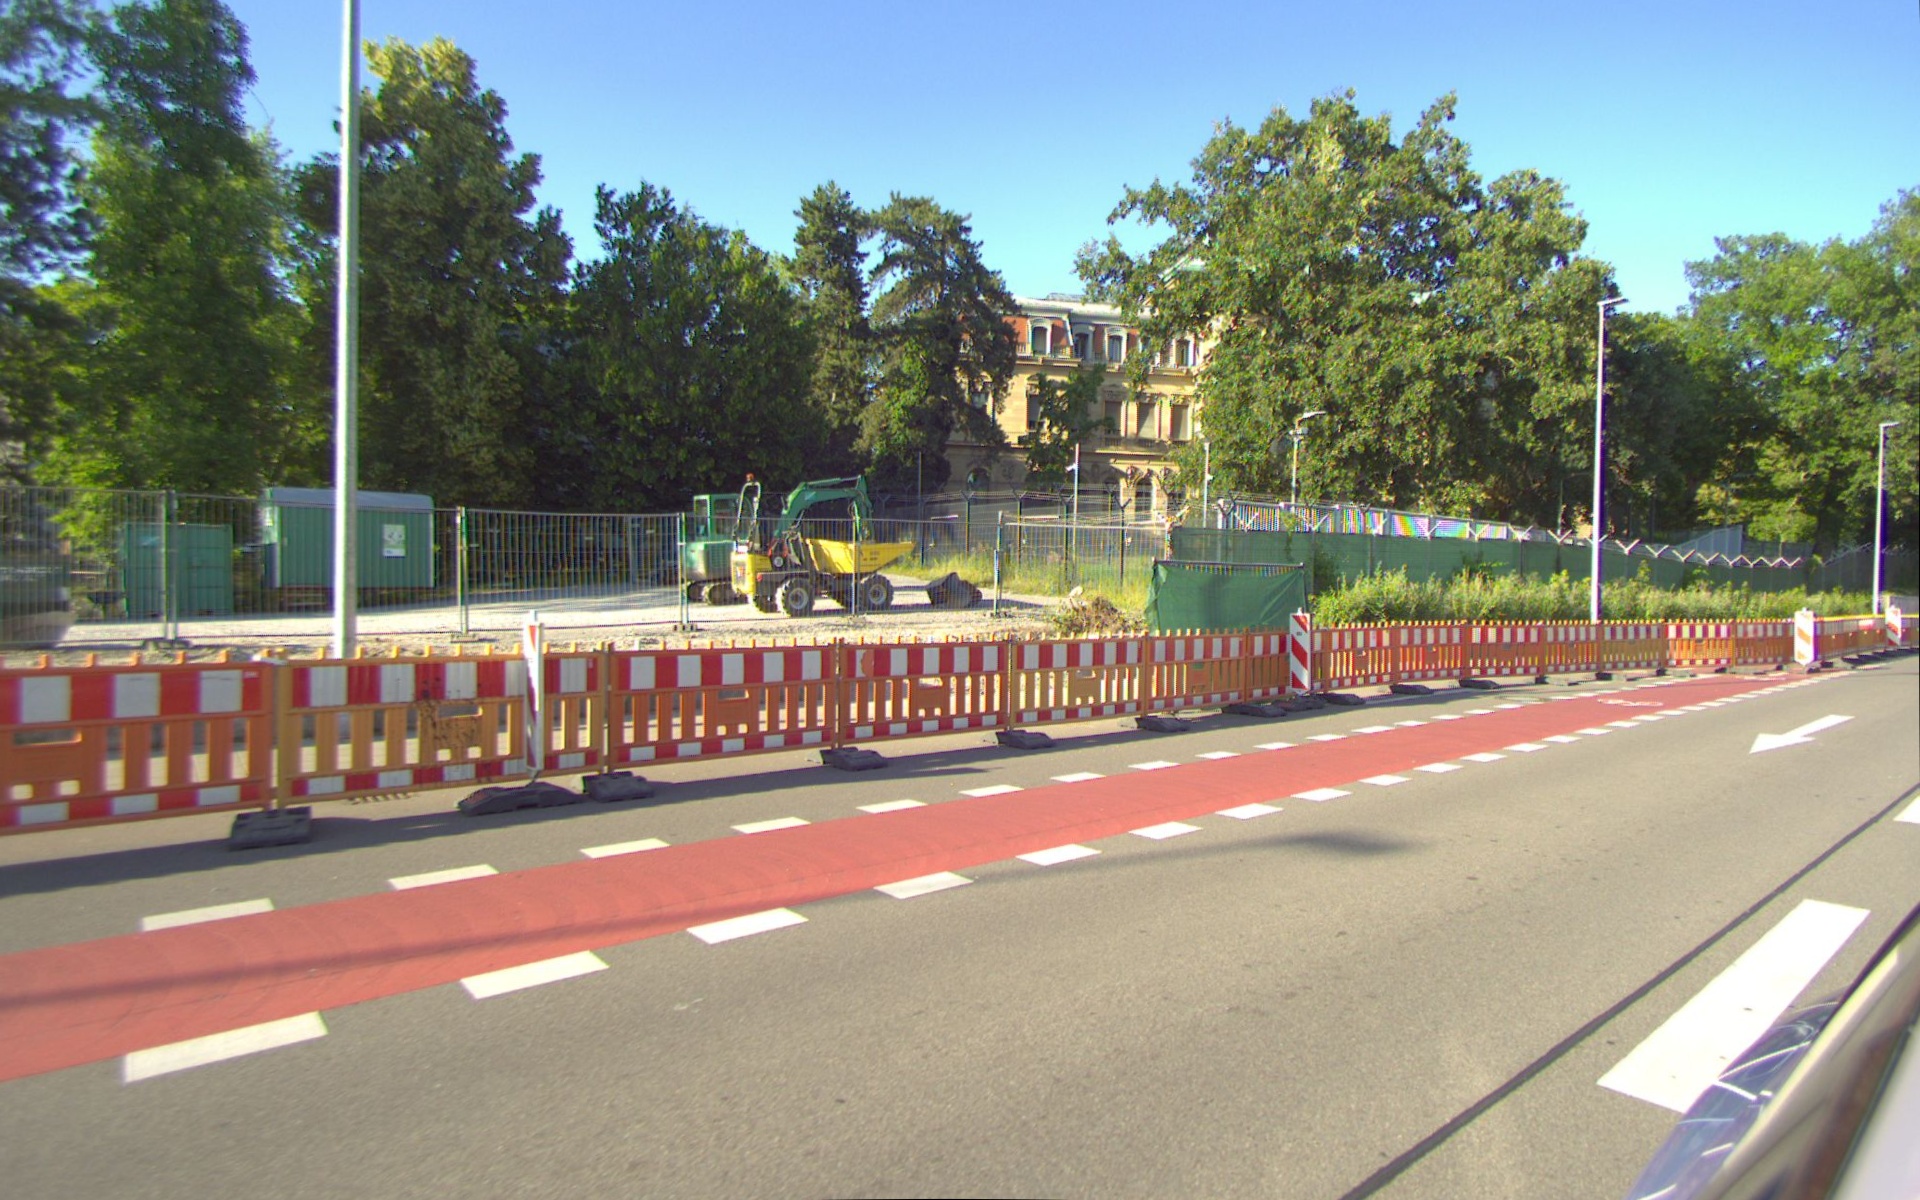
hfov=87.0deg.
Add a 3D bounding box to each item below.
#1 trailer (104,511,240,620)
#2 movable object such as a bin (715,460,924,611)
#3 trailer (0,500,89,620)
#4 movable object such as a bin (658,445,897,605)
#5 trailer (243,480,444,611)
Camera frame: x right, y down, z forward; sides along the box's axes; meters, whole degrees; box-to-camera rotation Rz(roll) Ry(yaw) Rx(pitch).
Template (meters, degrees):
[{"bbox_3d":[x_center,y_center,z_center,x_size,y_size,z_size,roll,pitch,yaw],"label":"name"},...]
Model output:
[{"bbox_3d":[-19.126,-0.892,24.552,2.189,2.349,2.950,-7,7,-43],"label":"trailer"},{"bbox_3d":[-2.970,-1.292,21.624,3.922,2.940,2.001,0,1,-33],"label":"movable object such as a bin"},{"bbox_3d":[-20.656,-0.891,22.033,2.189,2.349,5.037,-7,7,-43],"label":"trailer"},{"bbox_3d":[-4.499,-1.727,25.288,5.395,3.601,2.283,0,1,-36],"label":"movable object such as a bin"},{"bbox_3d":[-16.311,-1.526,26.855,3.923,3.126,2.612,-7,7,-43],"label":"trailer"}]
